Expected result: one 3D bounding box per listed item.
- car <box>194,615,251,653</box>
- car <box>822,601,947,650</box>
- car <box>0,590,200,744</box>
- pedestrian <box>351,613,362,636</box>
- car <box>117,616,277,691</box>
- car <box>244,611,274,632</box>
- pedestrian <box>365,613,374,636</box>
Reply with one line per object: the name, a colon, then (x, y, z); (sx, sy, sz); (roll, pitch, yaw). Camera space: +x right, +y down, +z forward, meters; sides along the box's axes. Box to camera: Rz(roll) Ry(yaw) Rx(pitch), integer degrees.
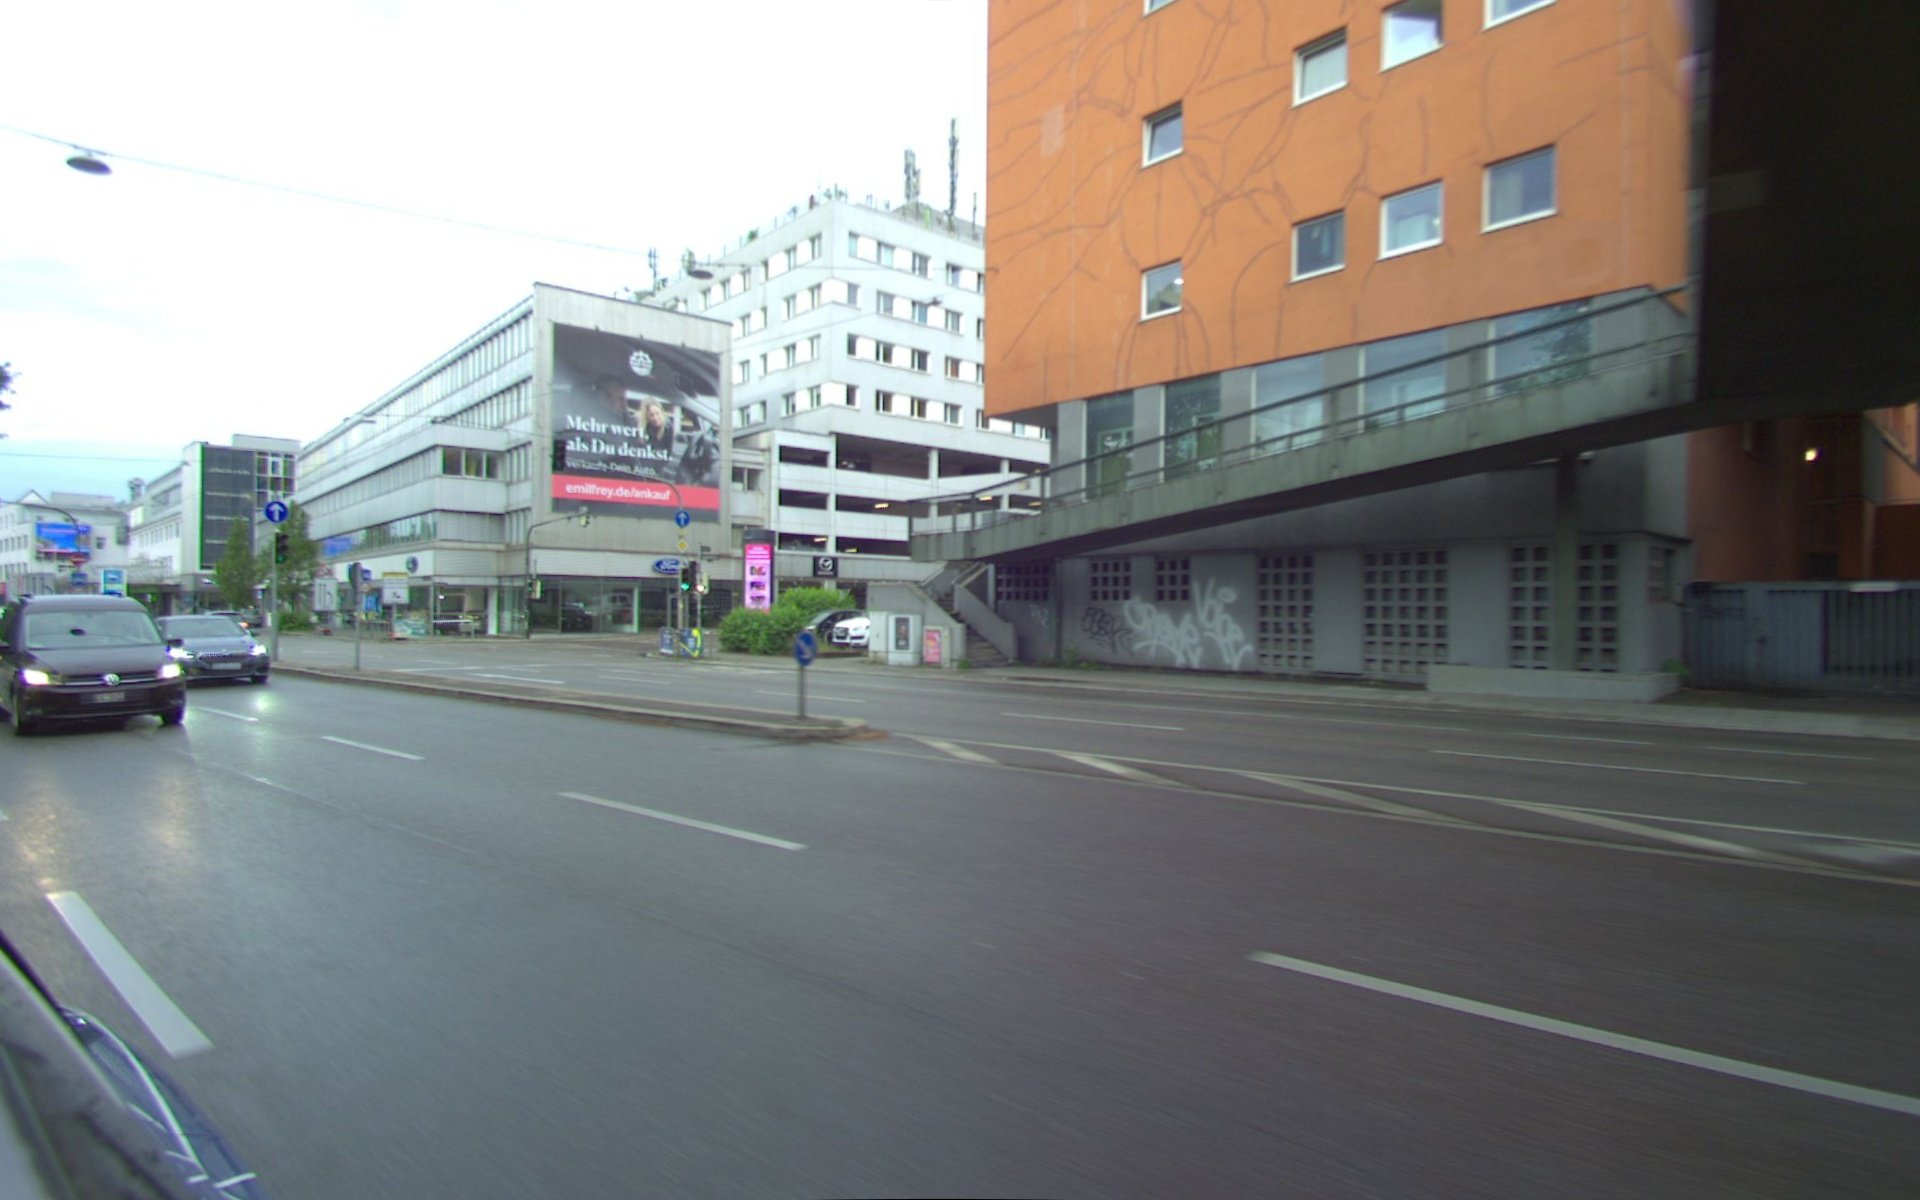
car: (-30.598, 1.377, 41.951); (2.771, 1.489, 1.504); (-1, -1, 45)
car: (-2.680, 0.875, 36.429); (4.242, 1.637, 1.937); (-1, 0, -44)
car: (-12.100, 0.827, 13.930); (3.998, 1.804, 1.818); (-2, 0, 41)
pedestrian: (-41.110, 1.688, 68.961); (0.567, 1.542, 0.454); (0, -1, -43)
car: (-16.356, 1.136, 21.612); (4.533, 1.426, 1.649); (-3, -2, 38)
car: (-64.367, 1.984, 92.900); (1.856, 1.881, 4.006); (-1, 0, -40)
pedestrian: (-40.547, 1.687, 69.486); (0.431, 1.542, 0.514); (0, -1, -43)
